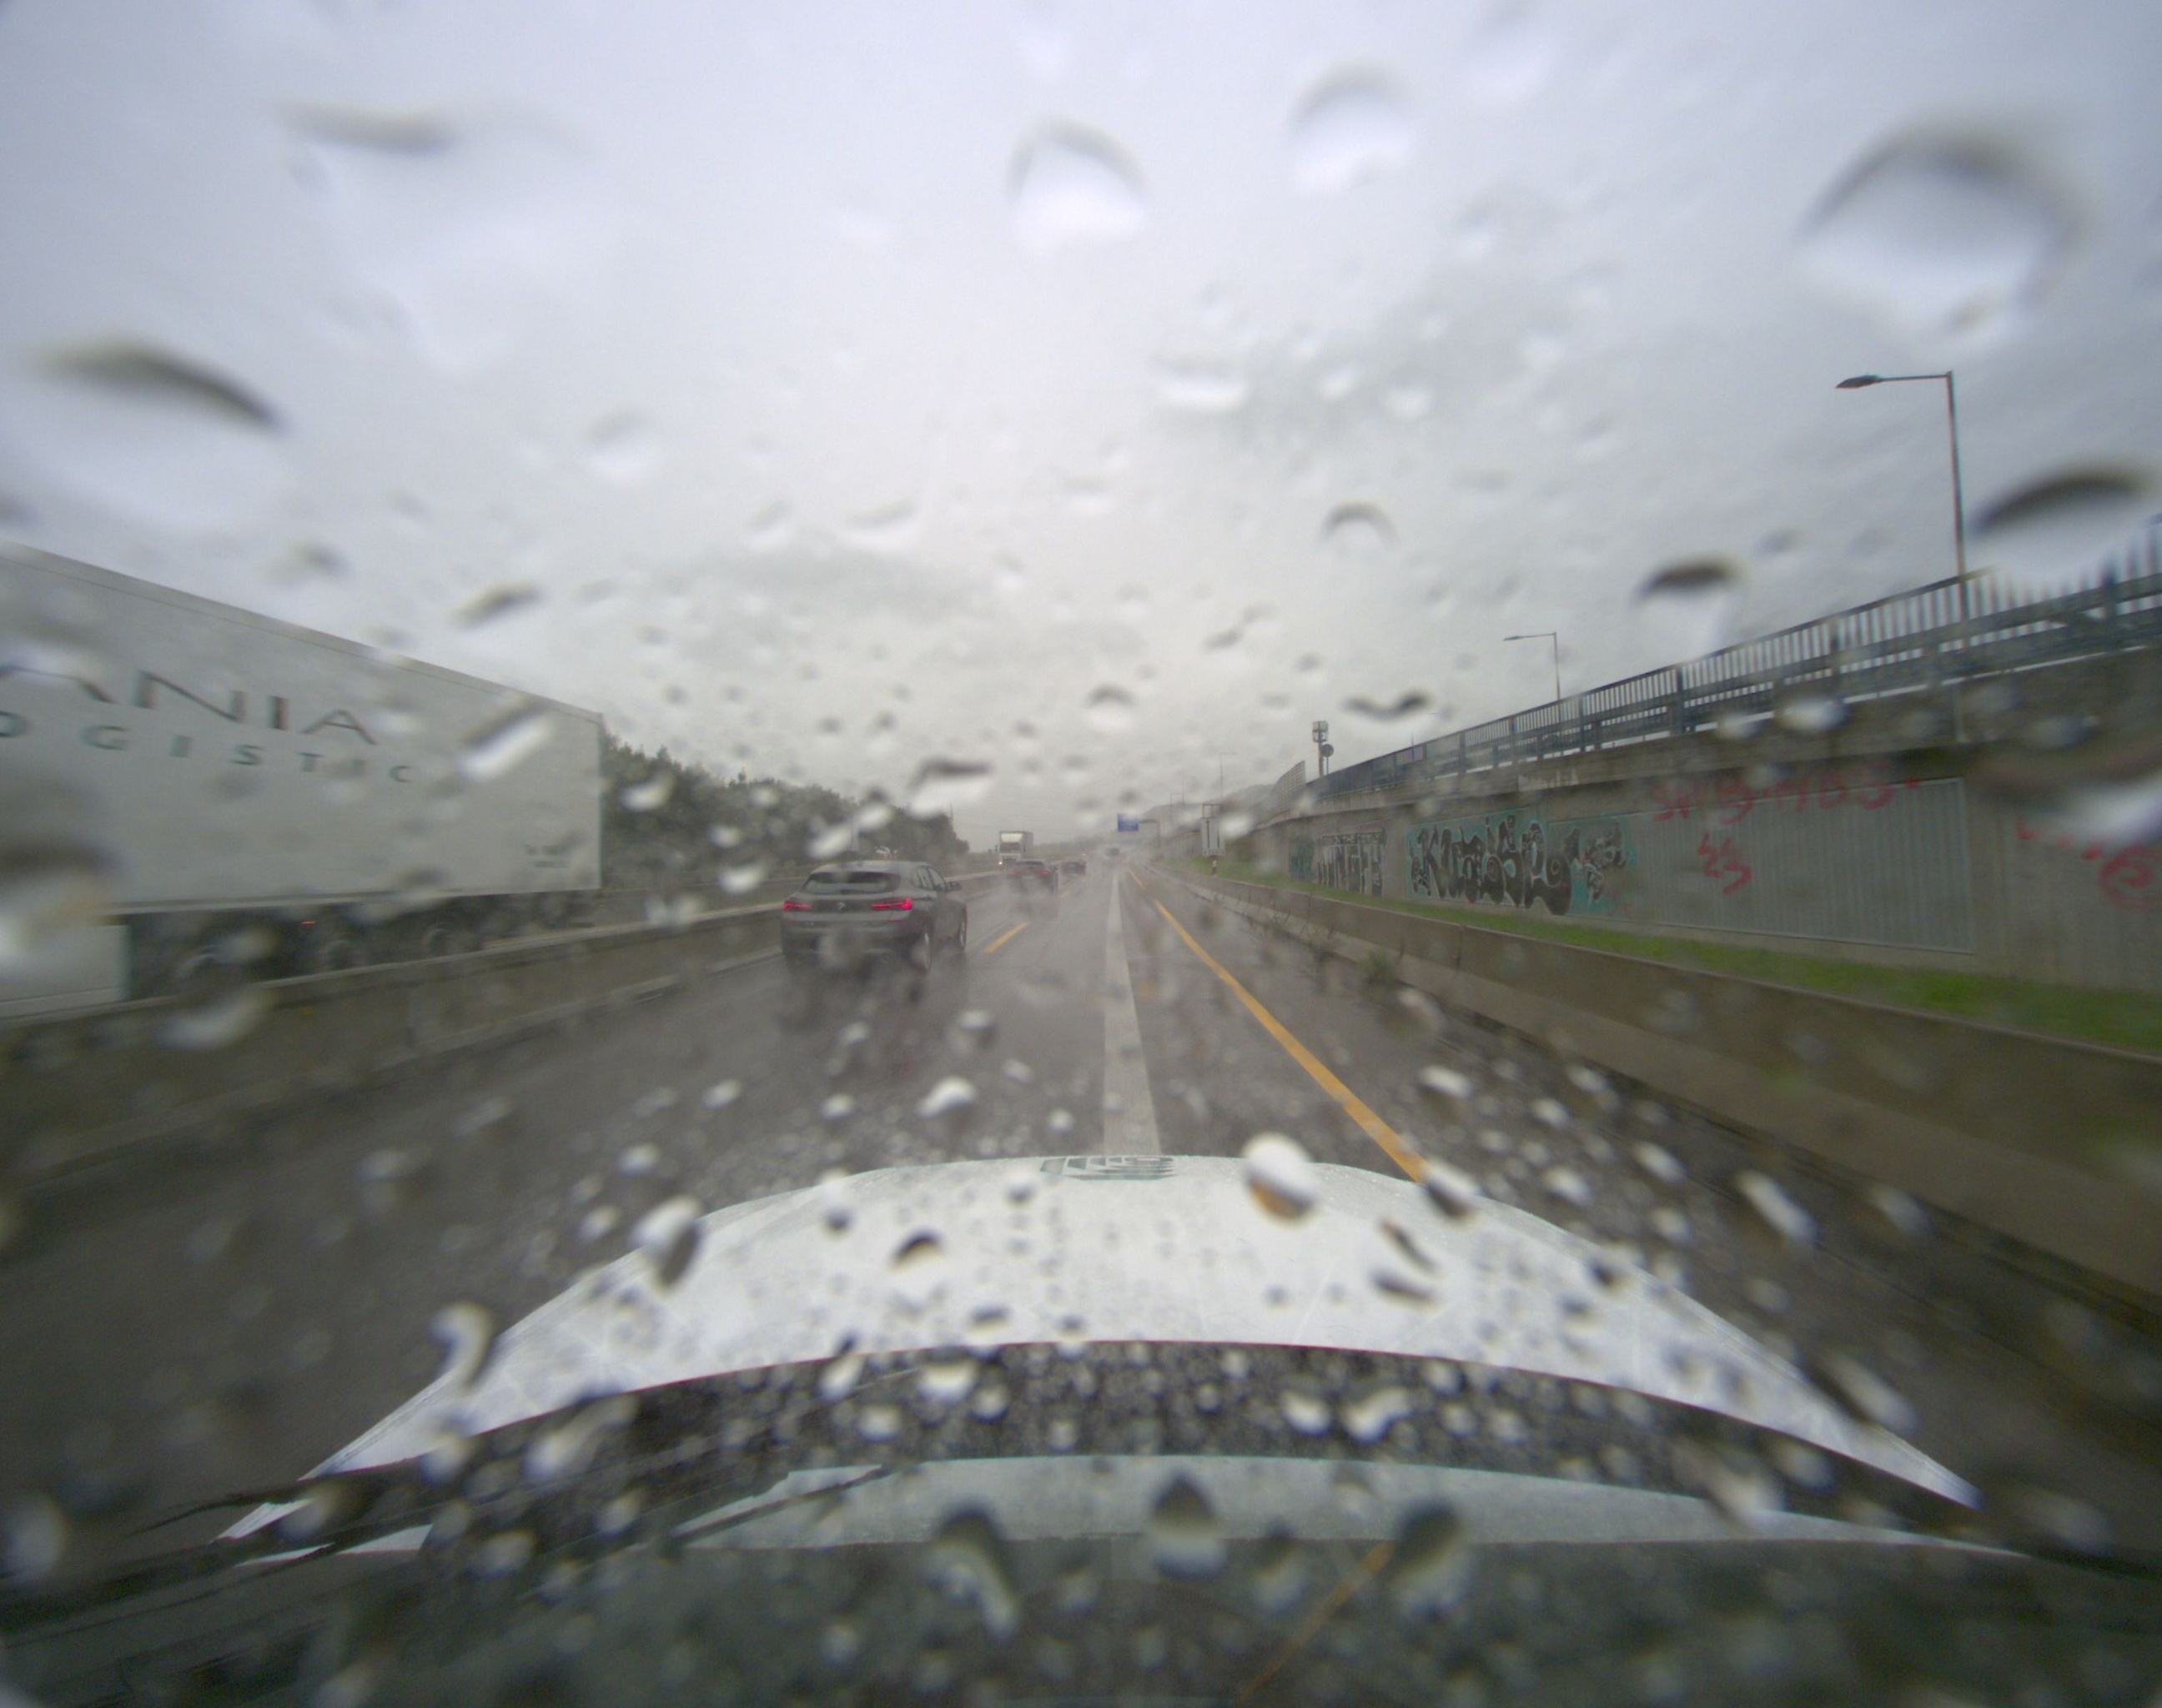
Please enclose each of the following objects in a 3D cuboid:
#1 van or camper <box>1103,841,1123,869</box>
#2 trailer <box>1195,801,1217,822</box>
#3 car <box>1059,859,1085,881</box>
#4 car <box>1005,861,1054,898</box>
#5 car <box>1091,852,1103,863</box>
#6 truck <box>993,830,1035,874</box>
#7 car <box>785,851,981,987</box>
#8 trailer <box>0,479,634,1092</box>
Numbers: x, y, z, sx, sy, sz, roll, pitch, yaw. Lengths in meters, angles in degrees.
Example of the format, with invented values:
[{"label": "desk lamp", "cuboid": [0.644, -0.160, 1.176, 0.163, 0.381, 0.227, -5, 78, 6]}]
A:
[{"label": "van or camper", "cuboid": [3.326, 0.121, 85.129, 1.990, 2.777, 4.049, 0, -1, 0]}, {"label": "trailer", "cuboid": [18.290, -6.137, 119.947, 1.985, 2.106, 13.781, 0, -1, 4]}, {"label": "car", "cuboid": [-0.642, 1.179, 60.962, 1.838, 1.491, 4.261, -3, 0, 0]}, {"label": "car", "cuboid": [-2.163, 1.073, 35.240, 1.838, 1.491, 4.261, 0, -1, 0]}, {"label": "car", "cuboid": [2.263, 0.489, 116.340, 1.561, 1.480, 2.821, -3, -1, 0]}, {"label": "truck", "cuboid": [-6.678, -0.104, 82.962, 2.993, 4.166, 9.836, -2, -1, 2]}, {"label": "car", "cuboid": [-2.651, 0.814, 12.108, 1.695, 1.598, 4.844, 0, -1, 0]}, {"label": "trailer", "cuboid": [-9.285, -0.471, 8.204, 2.537, 4.589, 12.013, 0, -1, 2]}]
